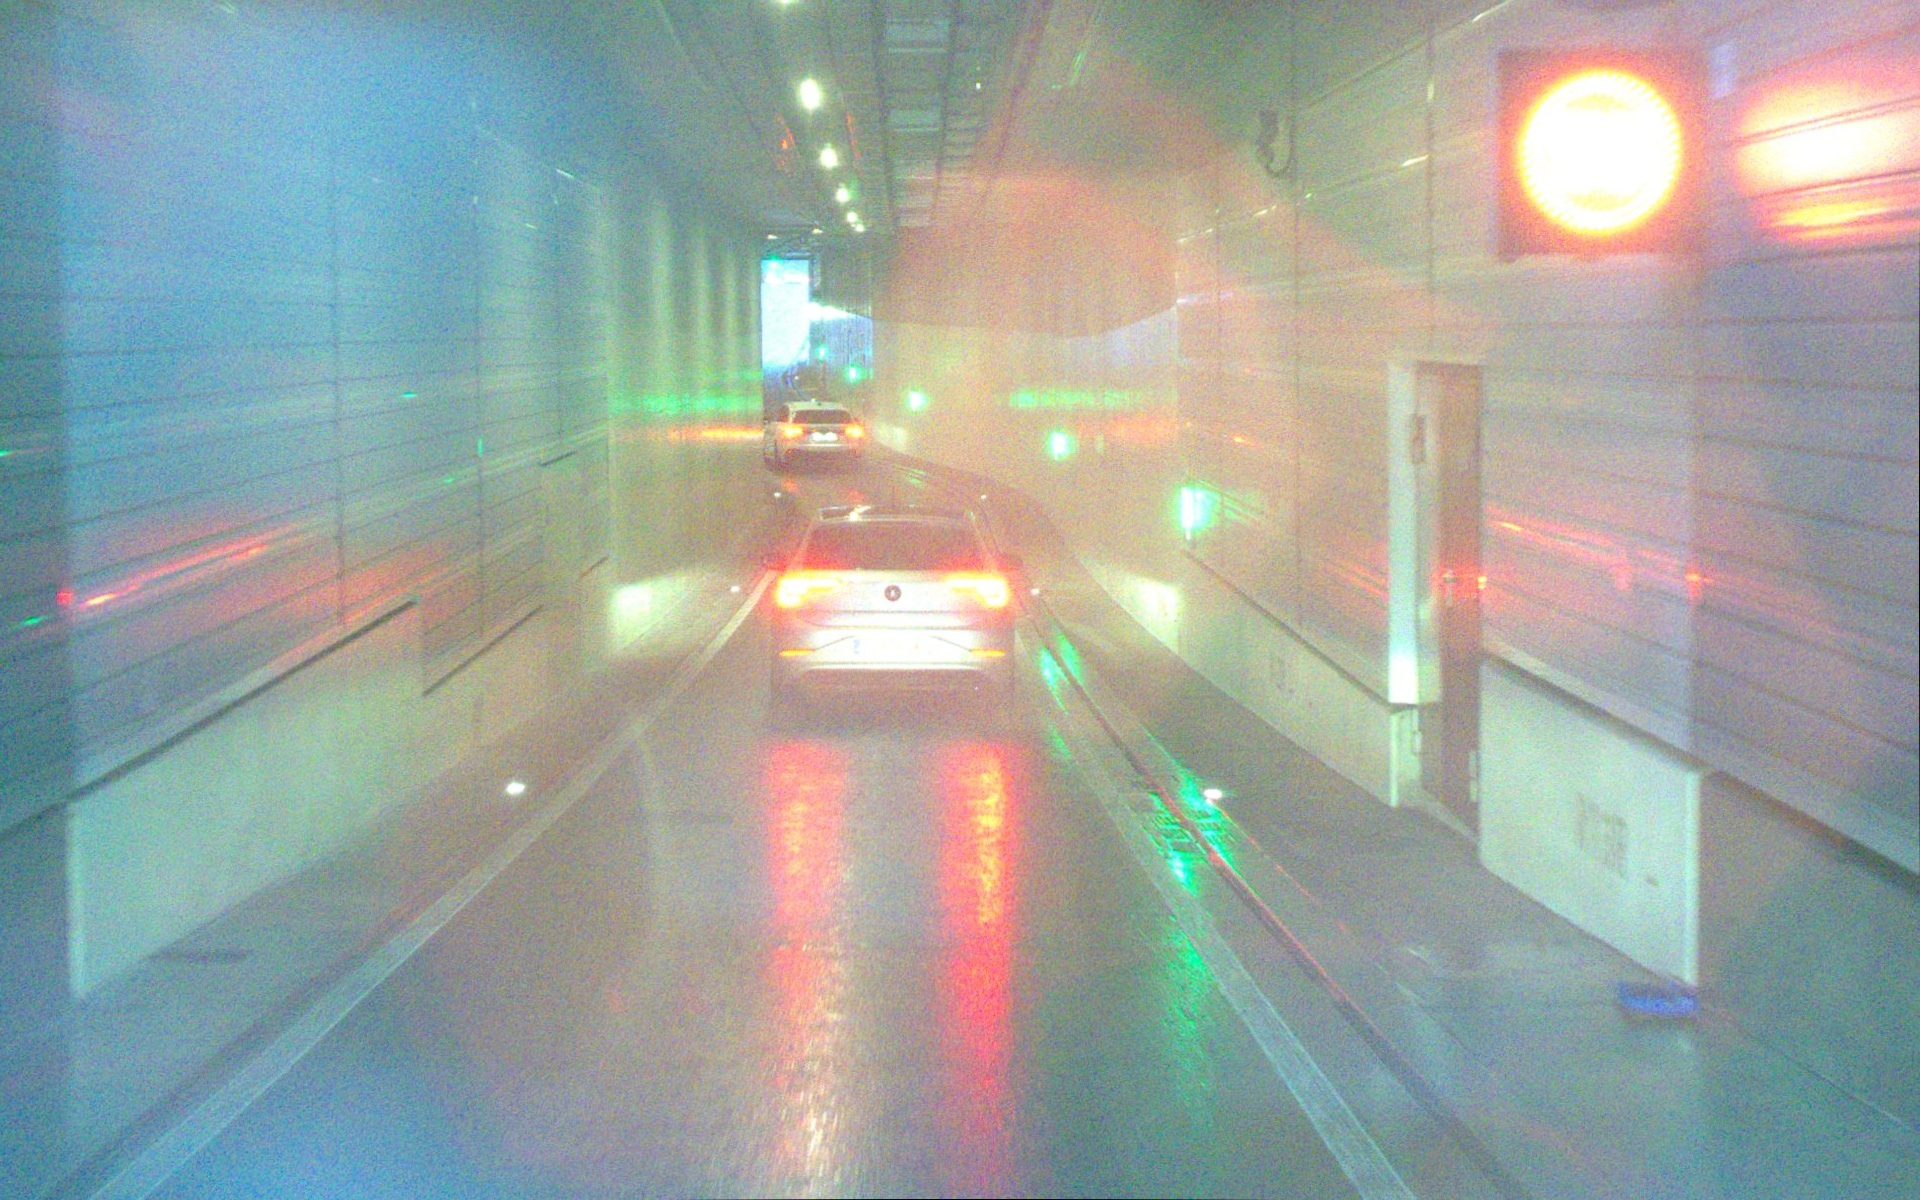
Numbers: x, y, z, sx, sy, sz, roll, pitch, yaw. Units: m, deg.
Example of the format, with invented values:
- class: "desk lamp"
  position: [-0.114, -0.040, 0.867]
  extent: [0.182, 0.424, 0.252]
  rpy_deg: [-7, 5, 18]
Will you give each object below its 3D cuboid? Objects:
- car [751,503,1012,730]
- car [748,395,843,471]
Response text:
- class: "car"
  position: [-0.512, 0.053, 25.083]
  extent: [1.722, 1.474, 4.000]
  rpy_deg: [1, 2, 0]
- class: "car"
  position: [-3.476, -3.563, 72.903]
  extent: [1.919, 1.480, 4.001]
  rpy_deg: [1, 4, -2]
